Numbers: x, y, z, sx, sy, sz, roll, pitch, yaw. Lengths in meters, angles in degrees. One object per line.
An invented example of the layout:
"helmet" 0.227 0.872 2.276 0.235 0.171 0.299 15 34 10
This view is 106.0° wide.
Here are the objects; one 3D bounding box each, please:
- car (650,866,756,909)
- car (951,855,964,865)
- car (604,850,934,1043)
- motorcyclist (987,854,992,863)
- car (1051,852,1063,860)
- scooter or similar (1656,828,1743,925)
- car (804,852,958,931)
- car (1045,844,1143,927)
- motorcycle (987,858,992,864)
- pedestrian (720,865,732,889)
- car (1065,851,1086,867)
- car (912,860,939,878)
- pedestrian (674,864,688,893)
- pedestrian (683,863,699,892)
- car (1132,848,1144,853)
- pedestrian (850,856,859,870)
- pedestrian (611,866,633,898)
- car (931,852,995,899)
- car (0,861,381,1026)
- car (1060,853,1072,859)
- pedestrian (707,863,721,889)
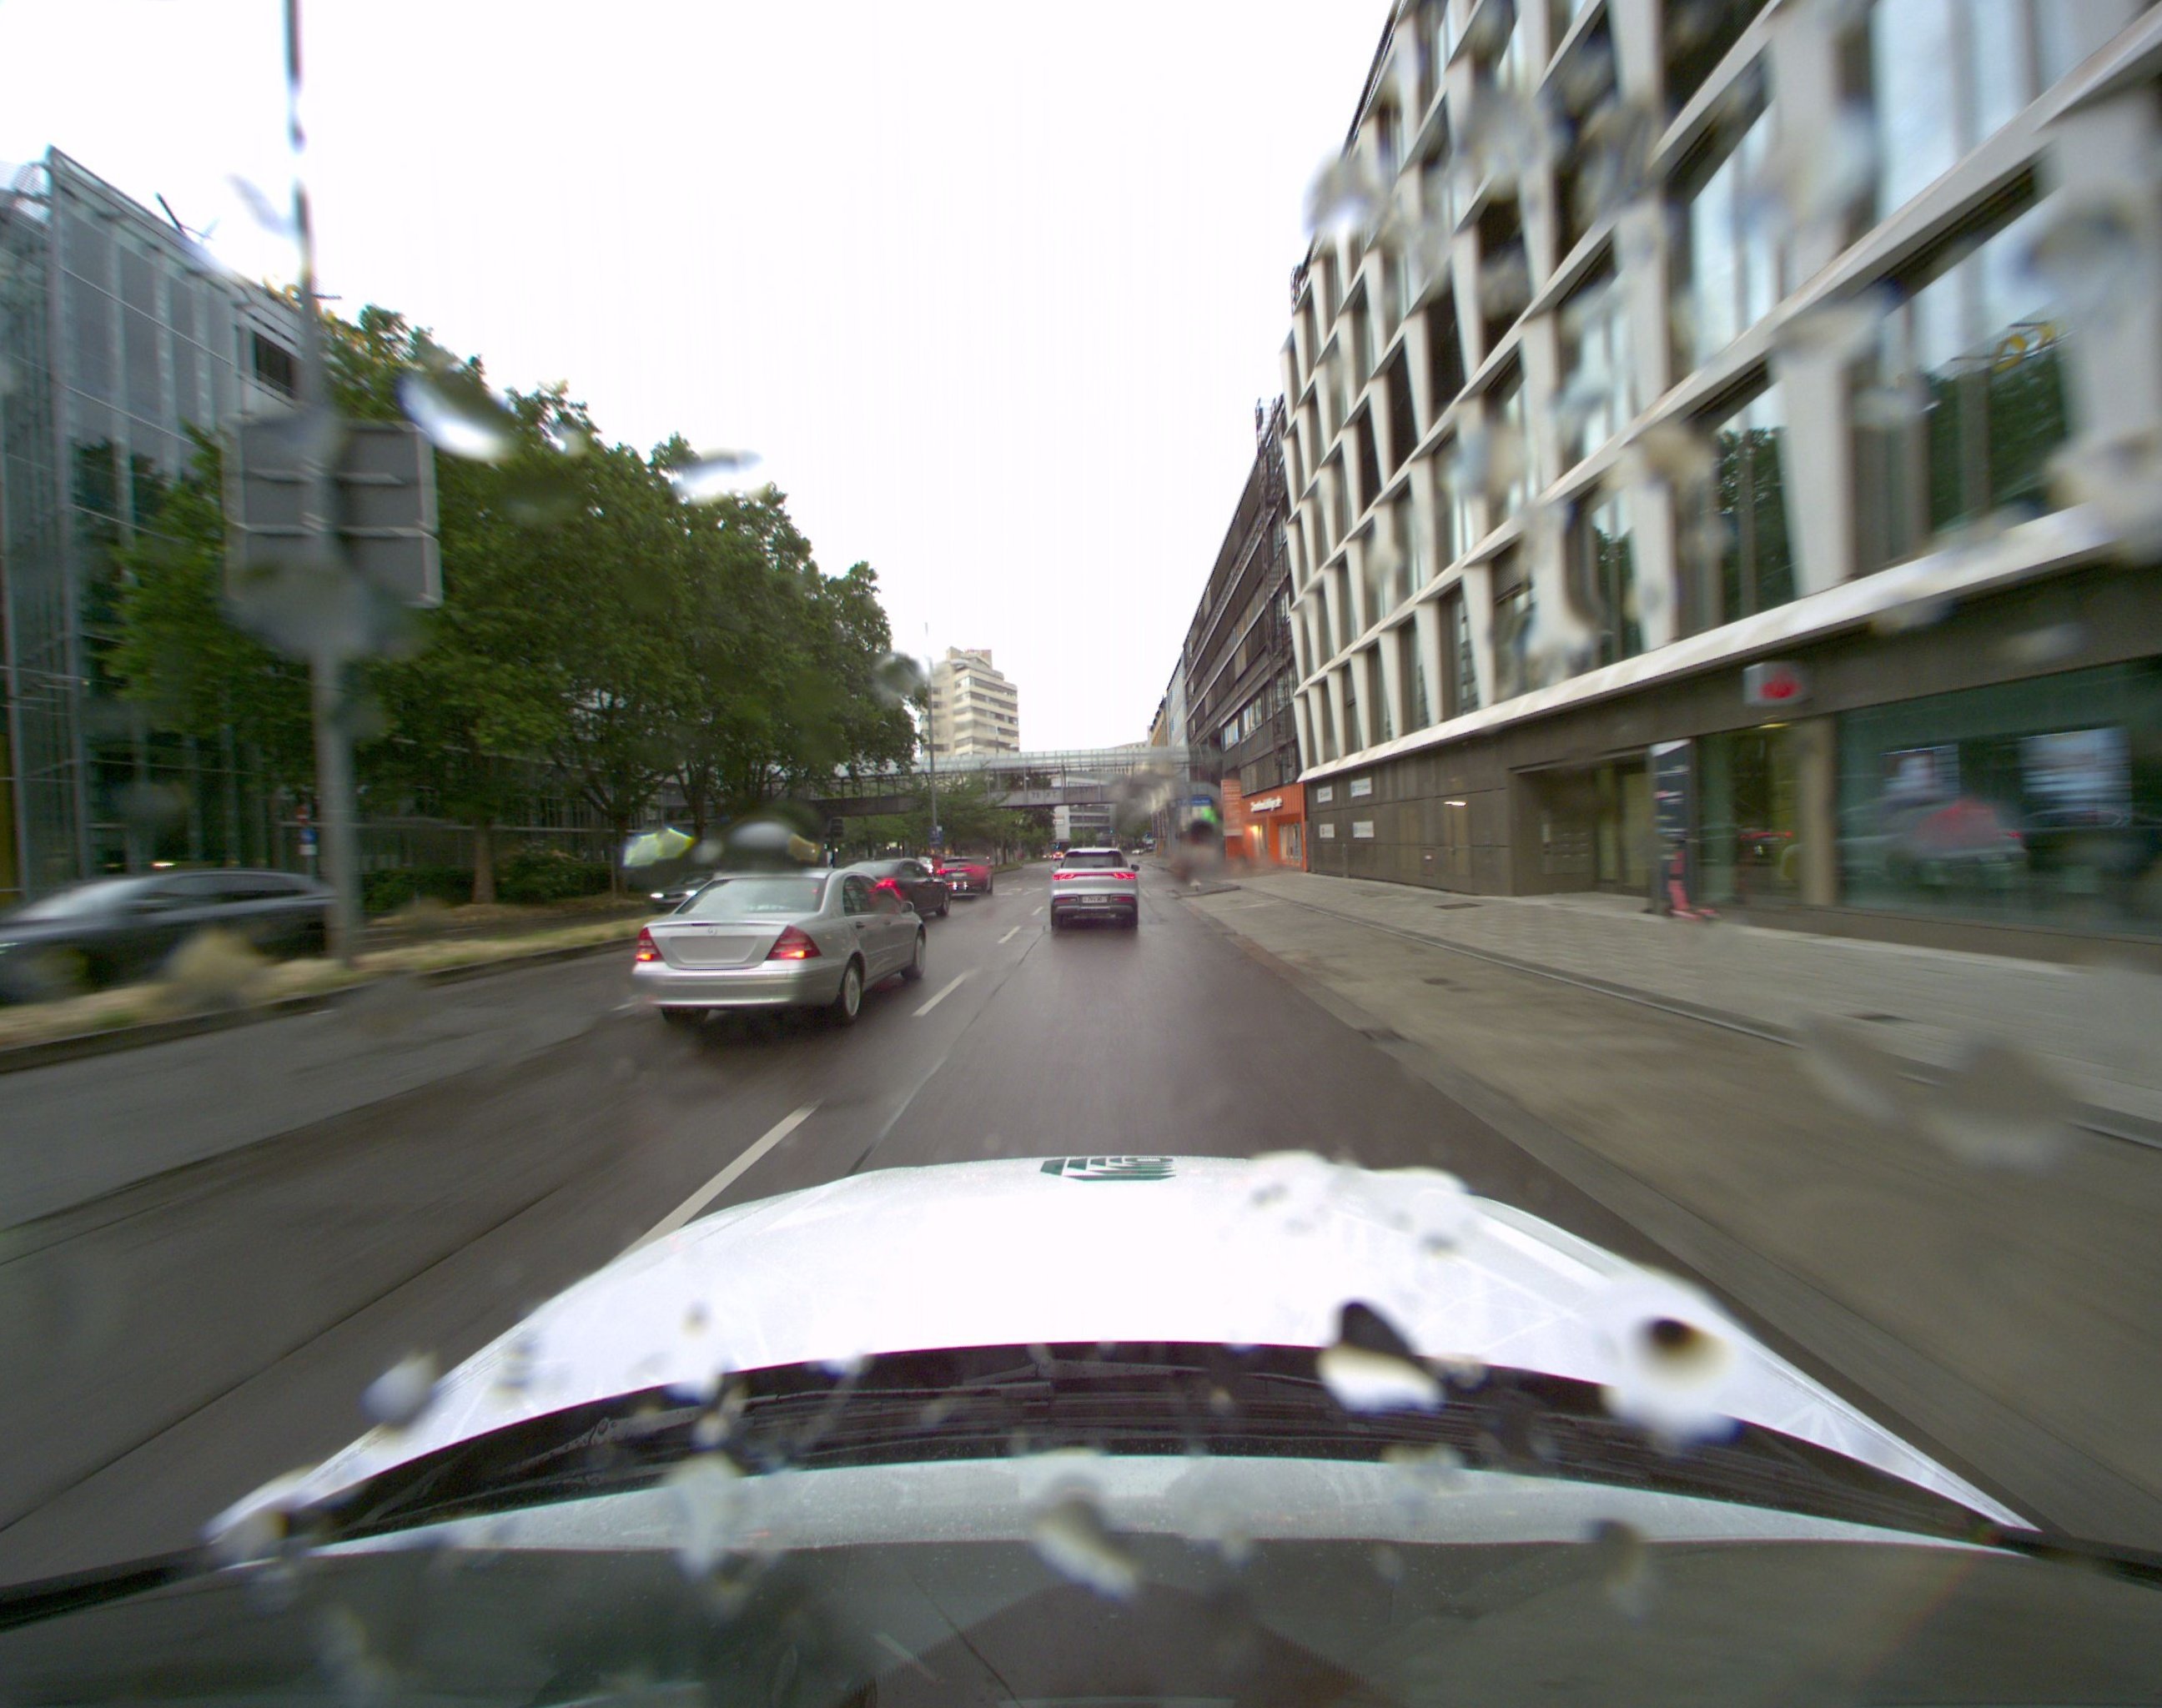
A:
"car" -14.364 1.215 31.276 1.684 1.438 4.761 -2 -1 2
"car" -19.837 0.937 130.897 1.618 1.460 3.962 -1 0 0
"car" -2.856 0.760 8.593 1.666 1.479 4.361 -1 -1 1
"motorcyclist" -14.942 0.800 133.030 0.635 1.418 0.970 -2 -1 2
"car" -4.244 0.307 143.490 1.646 1.342 4.004 -2 0 3
"scooter or similar" 8.324 0.281 11.010 0.409 1.236 1.192 -2 0 10
"car" -4.350 0.739 18.663 1.863 1.479 4.885 -3 0 5
"car" 0.308 0.626 17.914 1.894 1.621 4.001 0 0 1
"motorcycle" -14.917 1.104 133.122 0.582 1.021 1.806 -2 0 2
"pedestrian" -25.923 1.653 59.424 0.557 1.686 0.511 -2 0 1
"car" -0.546 0.475 82.161 1.803 1.578 4.005 -2 0 4
"car" -14.192 1.391 74.632 1.657 1.464 4.080 -4 0 -1
"pedestrian" -25.610 1.542 52.144 0.603 1.807 0.511 -2 0 1
"pedestrian" -24.894 1.512 51.976 0.594 1.807 0.760 -2 0 2
"car" 16.102 -1.009 229.589 1.565 1.538 4.026 -2 0 32
"pedestrian" -28.231 1.072 101.610 0.740 1.715 1.057 -2 0 1
"pedestrian" -26.287 1.604 46.659 0.732 1.807 0.803 -2 0 1
"car" -4.097 0.738 28.833 1.769 1.457 3.996 -2 -1 -2
"car" -11.892 0.971 10.311 1.867 1.680 4.682 -2 -1 2
"car" -3.728 0.437 203.495 1.610 1.492 4.328 -3 -1 20
"pedestrian" -26.743 1.608 59.340 0.720 1.807 0.618 -2 0 1
